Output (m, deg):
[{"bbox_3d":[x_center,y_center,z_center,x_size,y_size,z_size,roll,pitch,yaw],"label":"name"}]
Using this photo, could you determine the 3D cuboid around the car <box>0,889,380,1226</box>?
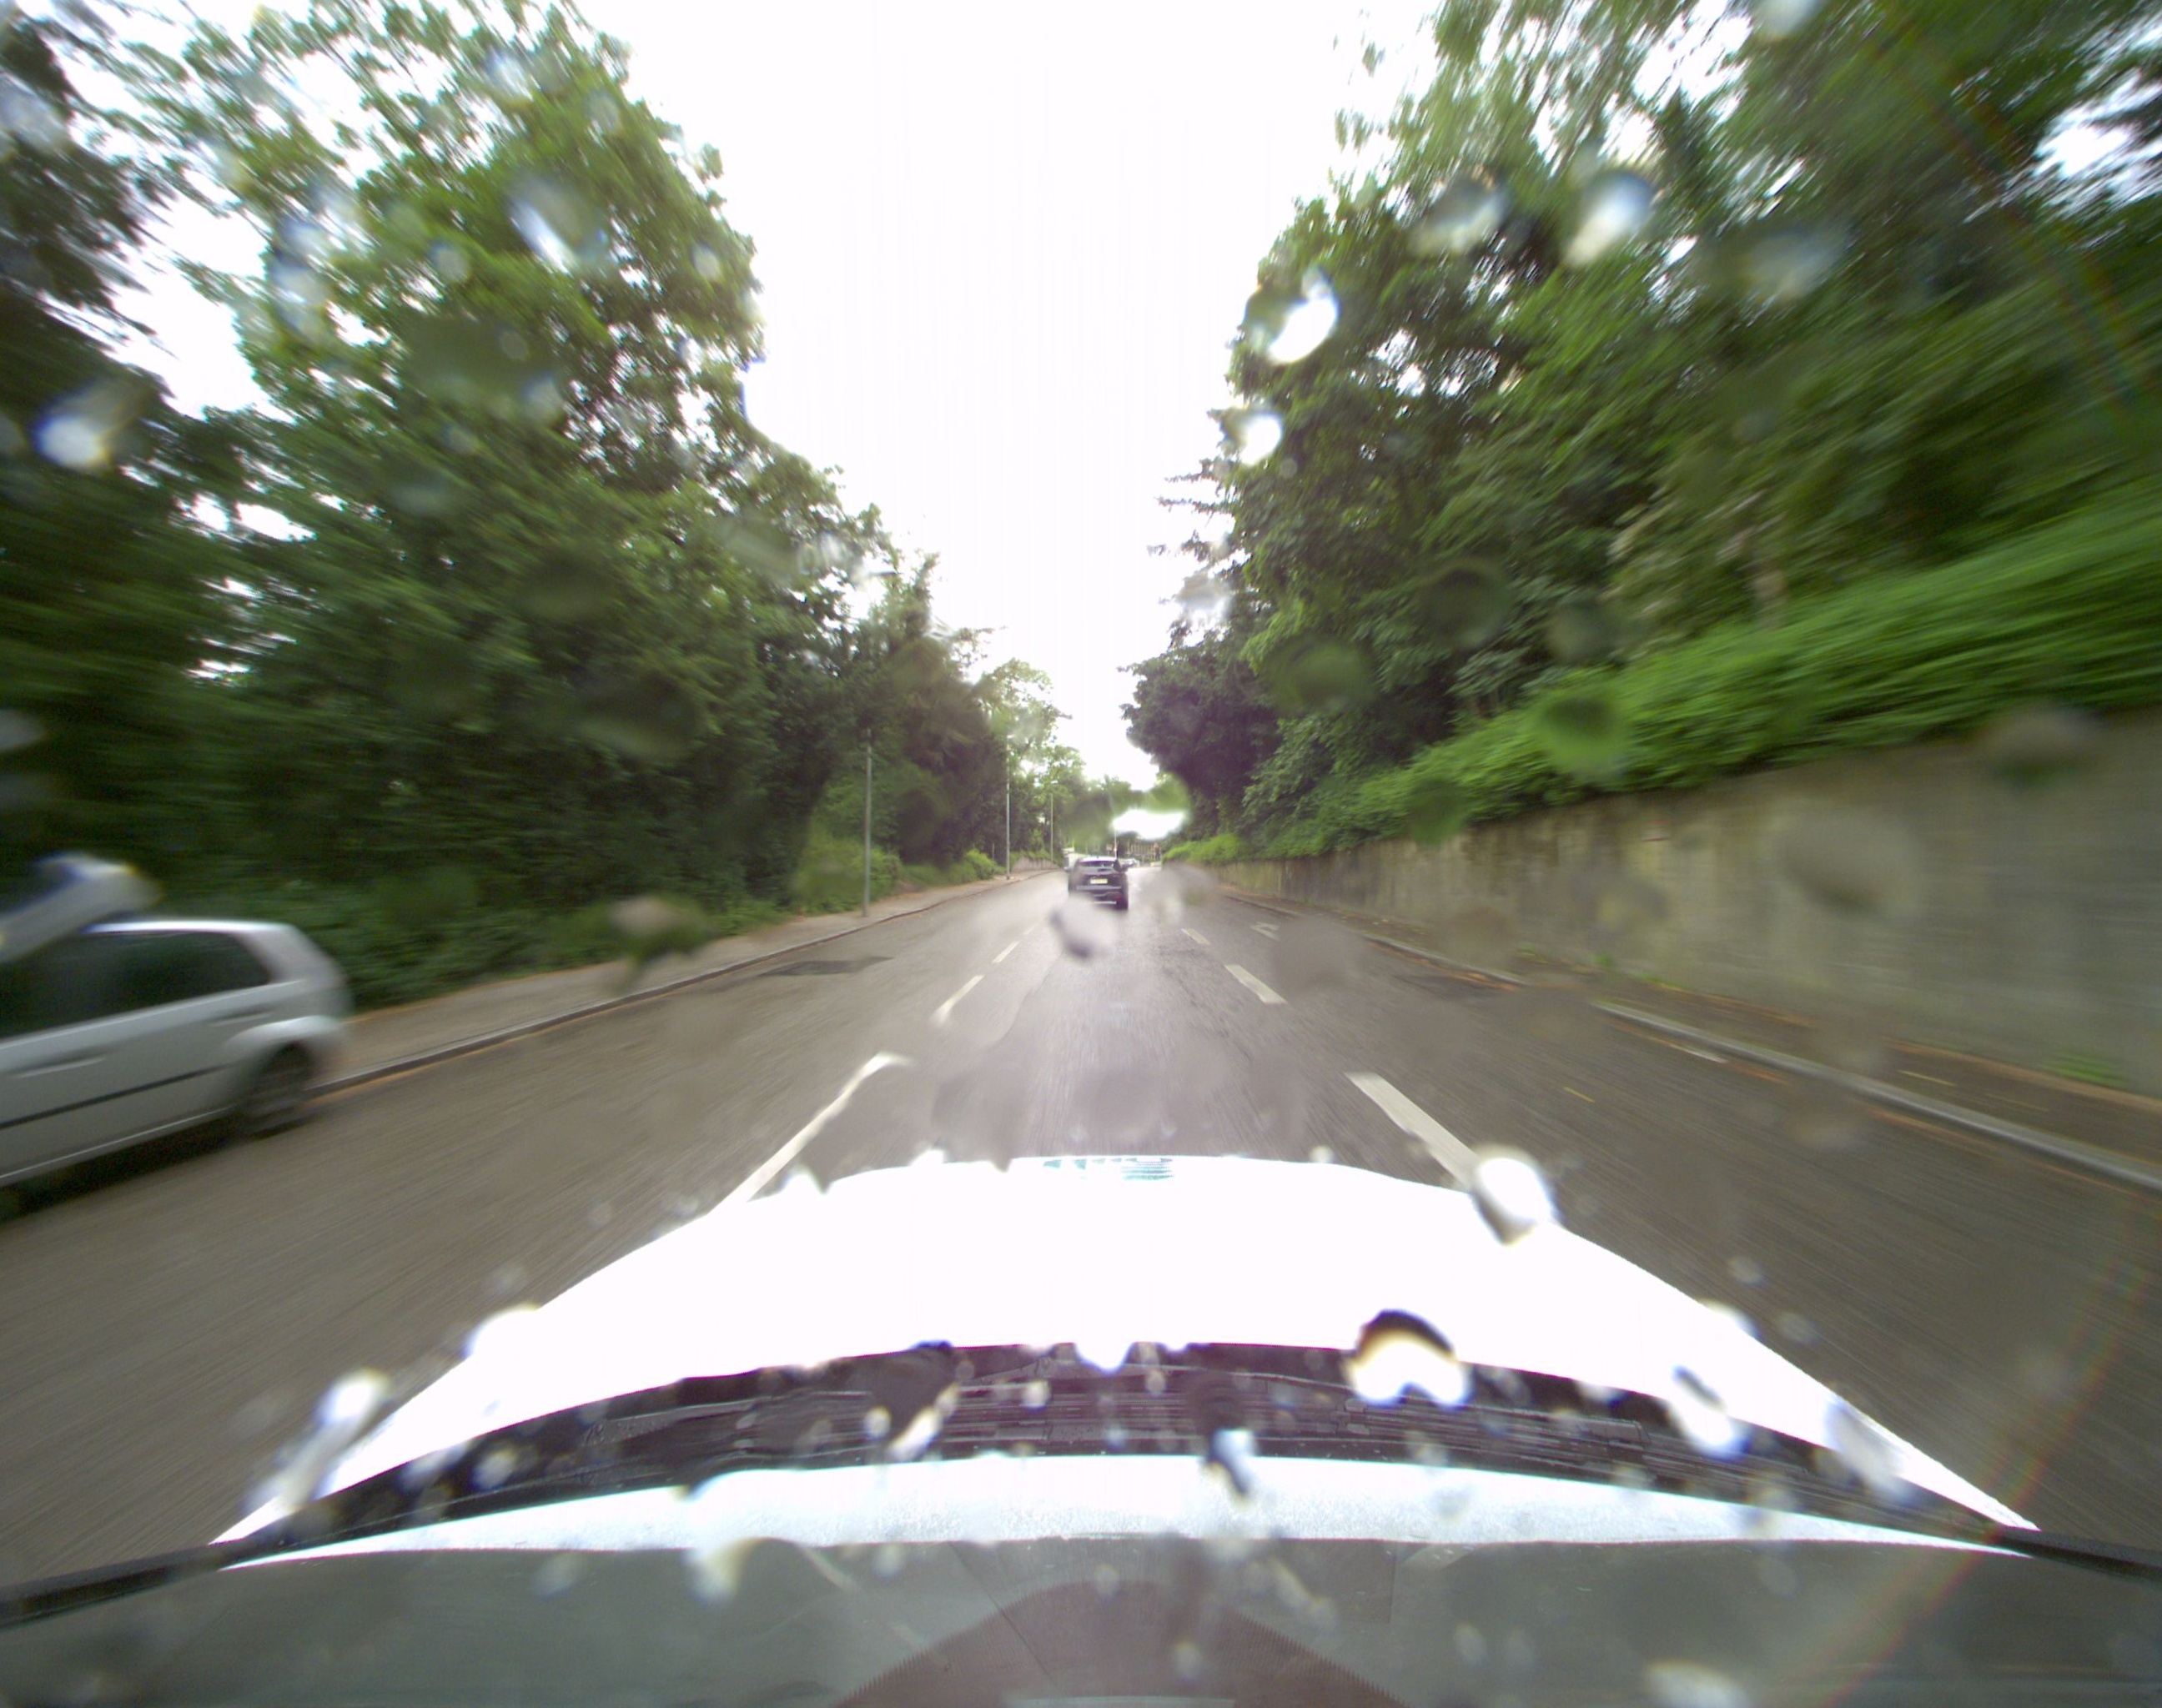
[{"bbox_3d":[-5.927,1.004,3.970,1.621,1.499,3.926,1,0,-1],"label":"car"}]

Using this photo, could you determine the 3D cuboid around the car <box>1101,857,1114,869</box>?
[{"bbox_3d":[3.826,1.256,118.172,1.824,1.711,3.999,0,0,0],"label":"car"}]

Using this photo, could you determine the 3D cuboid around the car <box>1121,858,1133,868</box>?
[{"bbox_3d":[7.115,1.392,126.932,1.669,1.496,3.461,-1,0,1],"label":"car"}]

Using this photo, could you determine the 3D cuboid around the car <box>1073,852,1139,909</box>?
[{"bbox_3d":[0.778,0.787,25.852,1.921,1.613,4.001,-1,0,1],"label":"car"}]
